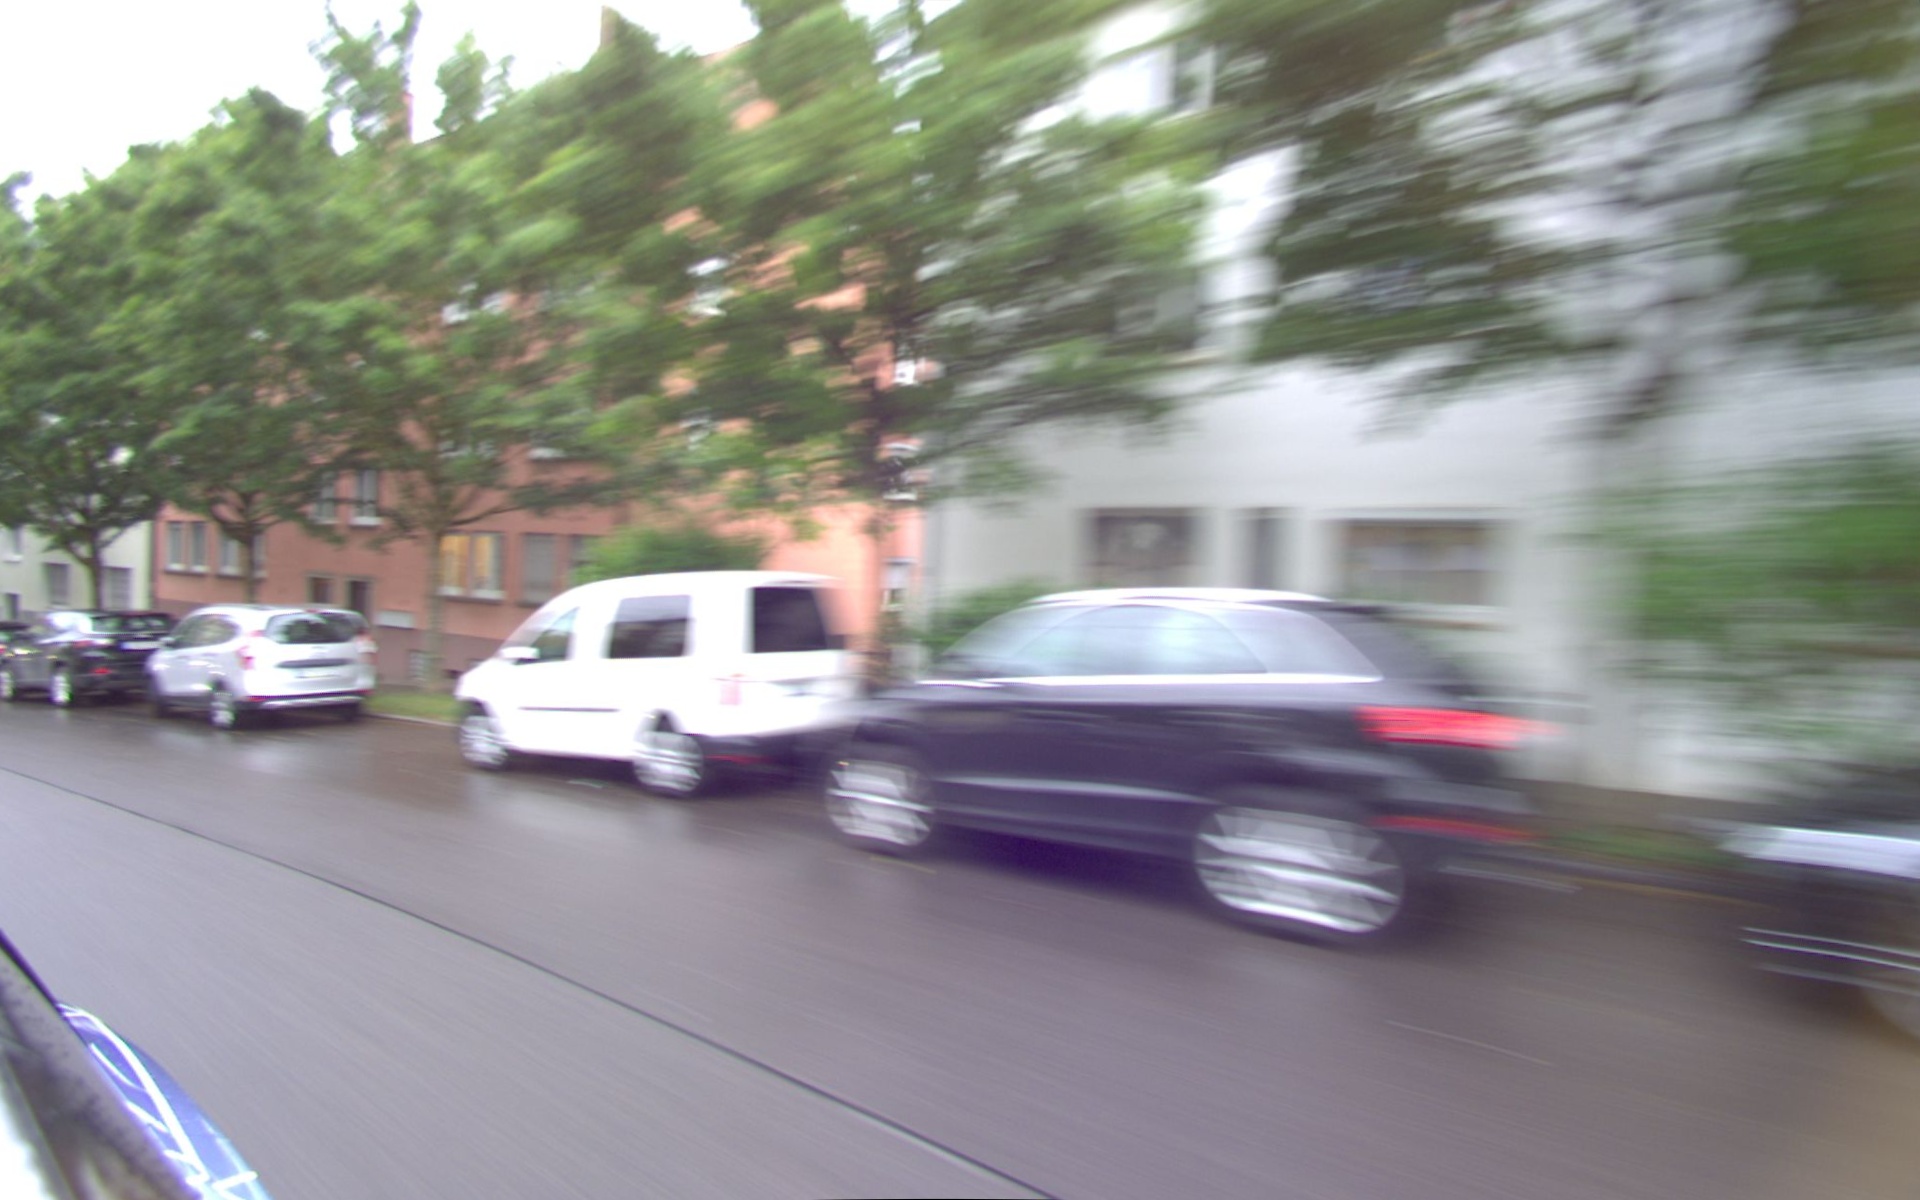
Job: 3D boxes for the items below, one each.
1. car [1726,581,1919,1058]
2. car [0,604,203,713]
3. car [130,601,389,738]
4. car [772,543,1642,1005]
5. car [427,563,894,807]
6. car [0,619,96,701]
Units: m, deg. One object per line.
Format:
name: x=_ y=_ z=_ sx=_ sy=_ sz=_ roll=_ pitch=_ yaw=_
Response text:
car: x=5.157 y=0.670 z=2.813 sx=4.730 sy=1.510 sz=1.837 roll=-1 pitch=-1 yaw=36
car: x=-15.496 y=0.958 z=17.916 sx=4.463 sy=1.653 sz=1.774 roll=-1 pitch=1 yaw=31
car: x=-10.301 y=0.899 z=14.753 sx=4.591 sy=1.703 sz=1.731 roll=-1 pitch=-1 yaw=37
car: x=1.100 y=0.662 z=5.875 sx=4.584 sy=1.680 sz=1.835 roll=-1 pitch=-1 yaw=40
car: x=-2.928 y=0.674 z=9.497 sx=4.472 sy=1.790 sz=1.838 roll=-1 pitch=-2 yaw=35
car: x=-19.720 y=1.166 z=20.578 sx=4.339 sy=1.504 sz=1.777 roll=-1 pitch=0 yaw=27
